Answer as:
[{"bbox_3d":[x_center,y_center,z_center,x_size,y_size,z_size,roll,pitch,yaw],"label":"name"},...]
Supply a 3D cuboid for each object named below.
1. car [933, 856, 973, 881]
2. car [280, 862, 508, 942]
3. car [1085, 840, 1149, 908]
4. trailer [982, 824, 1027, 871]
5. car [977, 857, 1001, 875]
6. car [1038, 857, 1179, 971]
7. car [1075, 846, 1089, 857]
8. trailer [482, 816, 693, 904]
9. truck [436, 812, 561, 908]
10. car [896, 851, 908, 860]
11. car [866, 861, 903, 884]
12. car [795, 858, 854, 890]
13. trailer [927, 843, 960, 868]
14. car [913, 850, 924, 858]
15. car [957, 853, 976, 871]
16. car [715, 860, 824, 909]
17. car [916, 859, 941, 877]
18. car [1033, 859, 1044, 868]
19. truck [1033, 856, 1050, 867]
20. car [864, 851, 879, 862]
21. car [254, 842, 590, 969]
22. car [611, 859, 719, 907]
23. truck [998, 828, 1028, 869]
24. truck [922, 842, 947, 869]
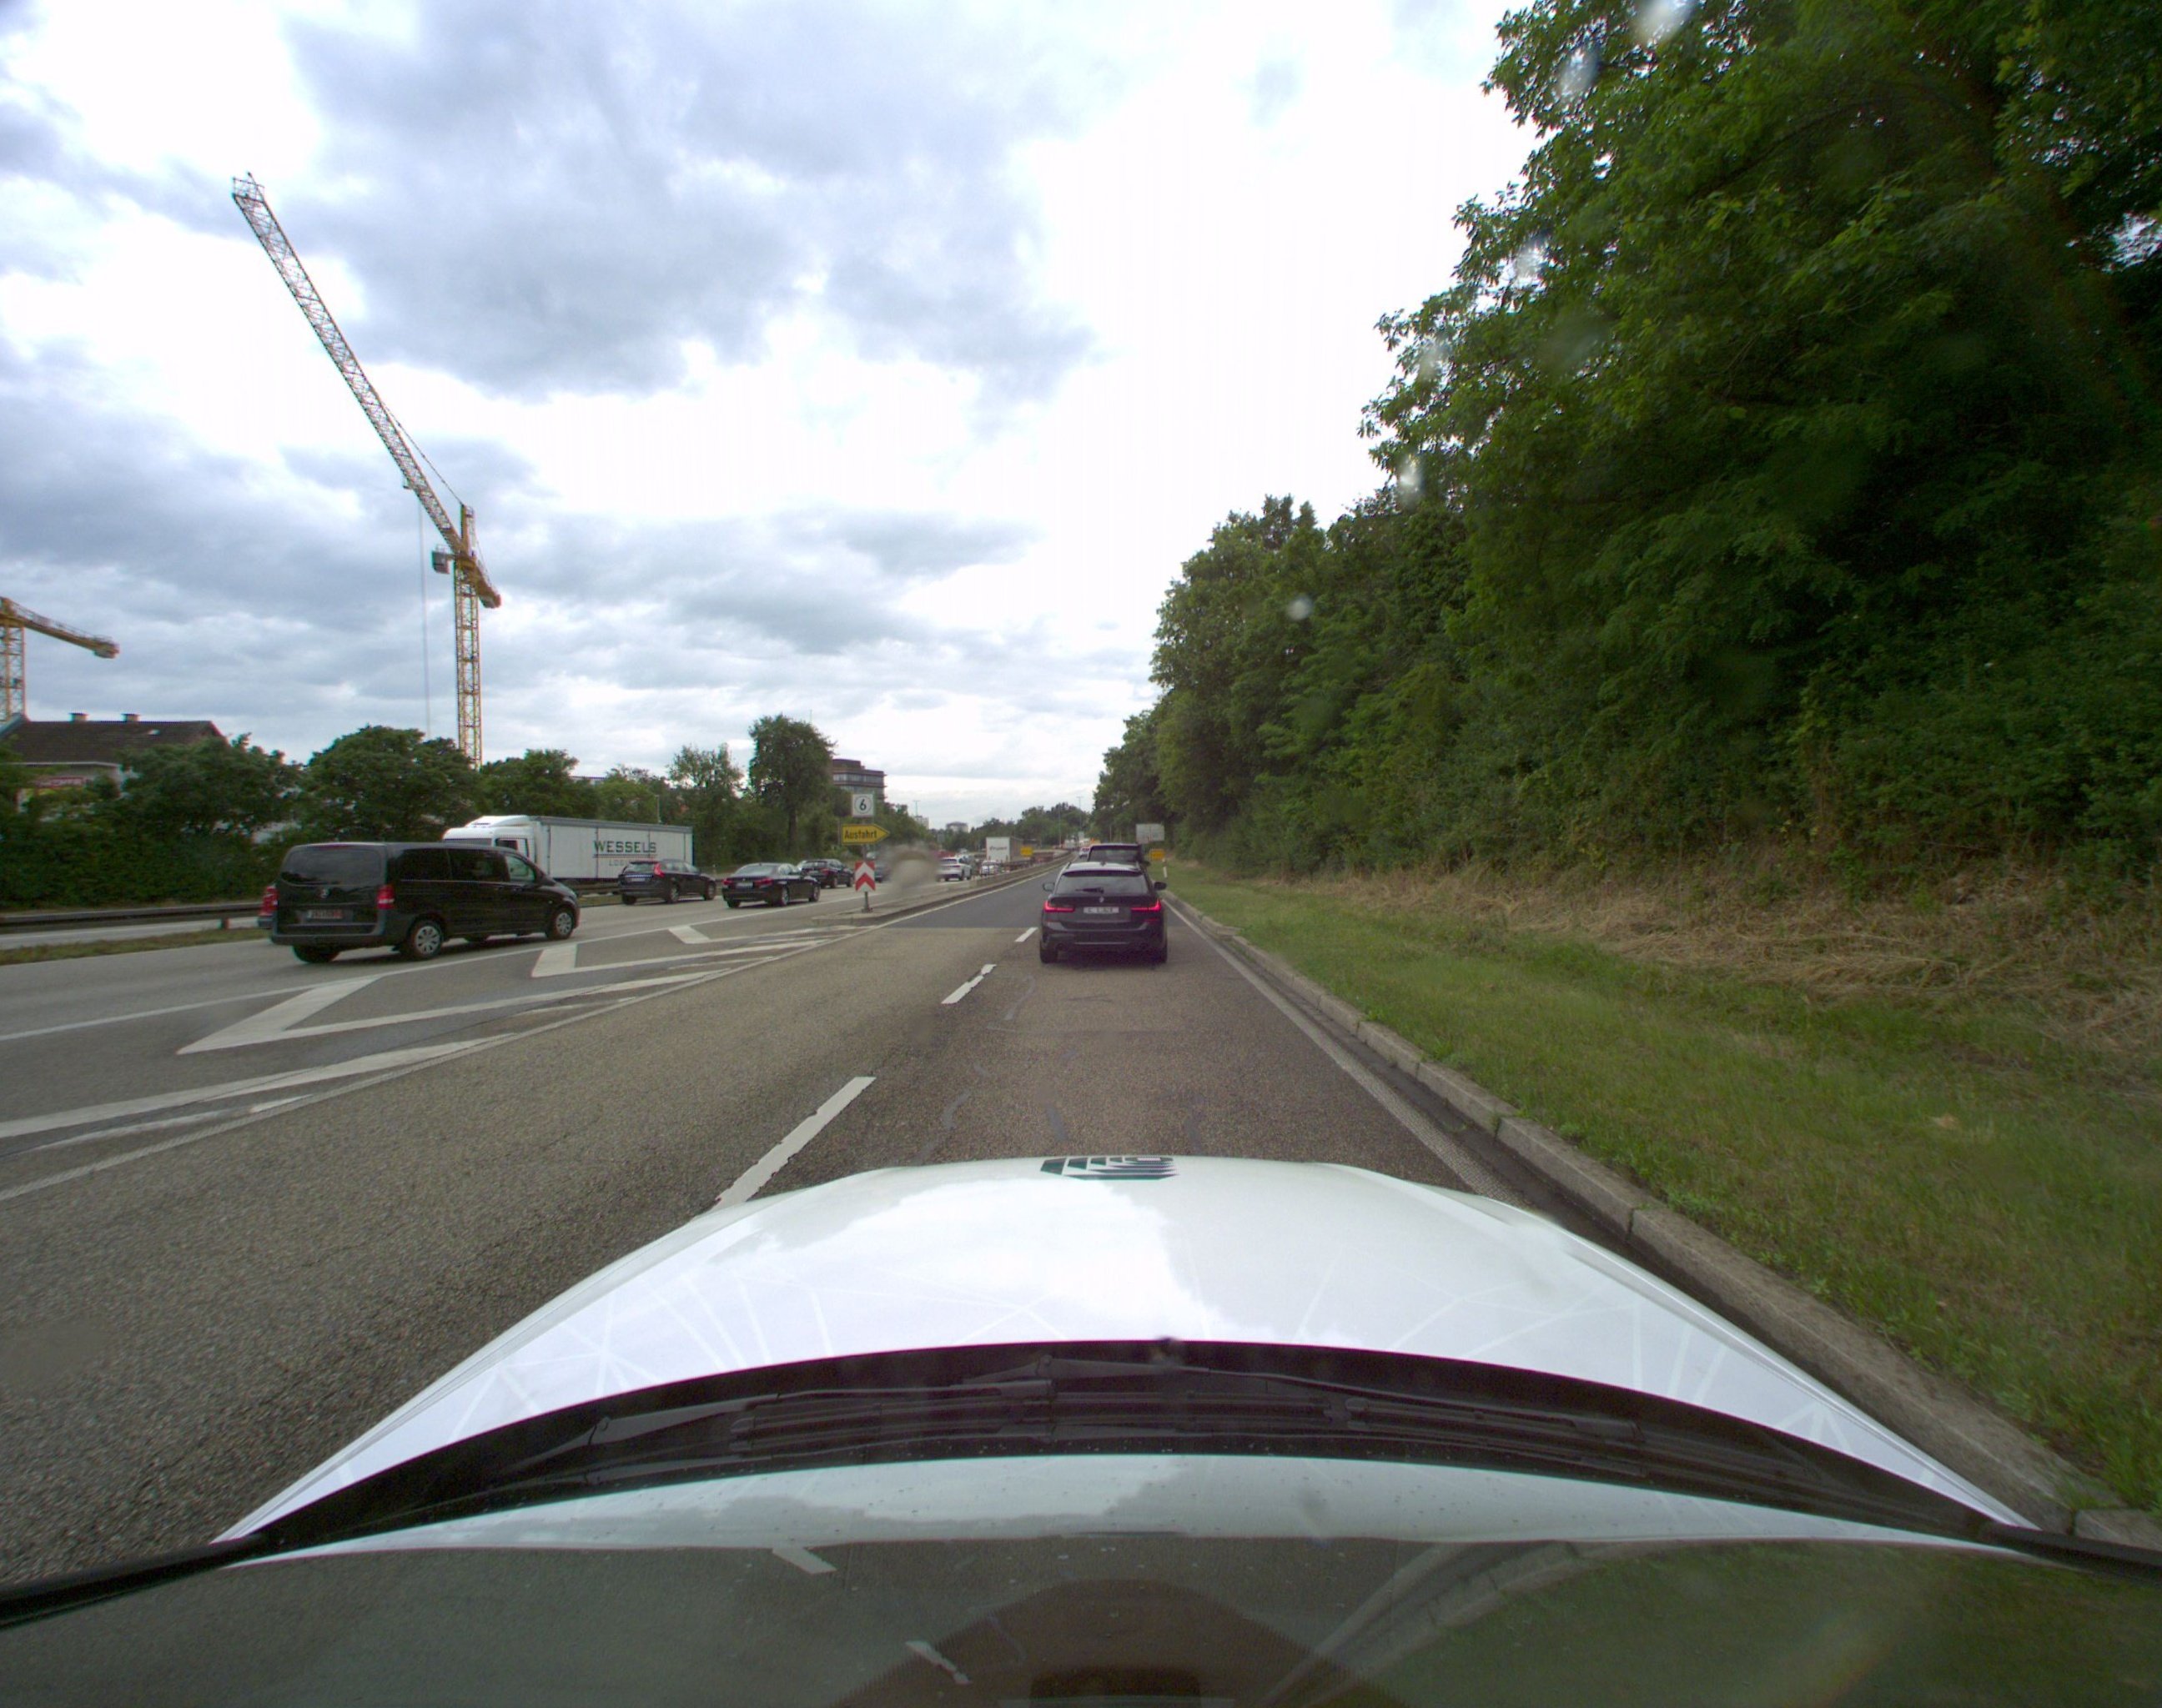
[{"bbox_3d":[-9.062,1.020,58.104,1.938,1.692,4.510,-1,0,2],"label":"car"},{"bbox_3d":[-15.682,1.020,18.899,1.759,1.567,3.948,-1,0,3],"label":"car"},{"bbox_3d":[1.094,0.562,24.847,1.789,1.872,4.002,-1,0,2],"label":"car"},{"bbox_3d":[-8.282,-0.633,90.304,3.121,4.725,14.565,0,0,2],"label":"trailer"},{"bbox_3d":[-8.418,1.058,74.647,1.762,1.549,3.493,-1,0,1],"label":"car"},{"bbox_3d":[0.382,0.803,12.726,1.840,1.467,4.000,-1,0,0],"label":"car"},{"bbox_3d":[0.210,-0.424,126.083,1.922,1.596,3.880,-1,0,3],"label":"car"},{"bbox_3d":[-25.804,0.272,44.080,2.584,3.982,13.788,-1,0,2],"label":"trailer"},{"bbox_3d":[-26.042,0.260,36.607,2.586,3.990,4.001,-1,0,2],"label":"truck"},{"bbox_3d":[-32.578,0.224,148.229,1.432,1.586,3.245,-1,0,2],"label":"car"},{"bbox_3d":[-14.501,1.313,60.398,1.681,1.608,4.008,0,0,1],"label":"car"},{"bbox_3d":[-14.460,1.075,46.136,1.884,1.681,4.307,-1,0,1],"label":"car"},{"bbox_3d":[-22.957,0.248,136.860,2.754,4.064,13.360,-1,0,2],"label":"trailer"},{"bbox_3d":[-32.886,-0.032,164.651,1.433,1.446,3.243,-1,0,0],"label":"car"},{"bbox_3d":[-13.037,0.896,92.614,1.437,2.044,3.683,-1,0,3],"label":"car"},{"bbox_3d":[-10.505,0.979,27.868,1.706,1.457,4.670,-1,0,3],"label":"car"},{"bbox_3d":[-14.815,1.341,79.489,1.681,1.632,3.735,0,0,1],"label":"car"},{"bbox_3d":[-6.669,1.484,128.739,1.442,1.490,3.064,-1,0,3],"label":"car"},{"bbox_3d":[-9.310,1.684,192.831,3.262,2.509,7.663,-1,0,2],"label":"truck"},{"bbox_3d":[-32.803,0.381,127.601,1.432,1.574,3.245,-1,0,2],"label":"car"},{"bbox_3d":[-11.242,0.768,14.499,1.987,1.851,4.812,-1,0,1],"label":"car"},{"bbox_3d":[-15.621,1.042,30.868,1.745,1.635,4.269,-1,0,2],"label":"car"},{"bbox_3d":[-8.020,-0.606,96.828,3.072,4.698,4.234,0,0,2],"label":"truck"},{"bbox_3d":[-23.153,0.253,129.096,2.752,4.064,4.909,-1,0,2],"label":"truck"}]
